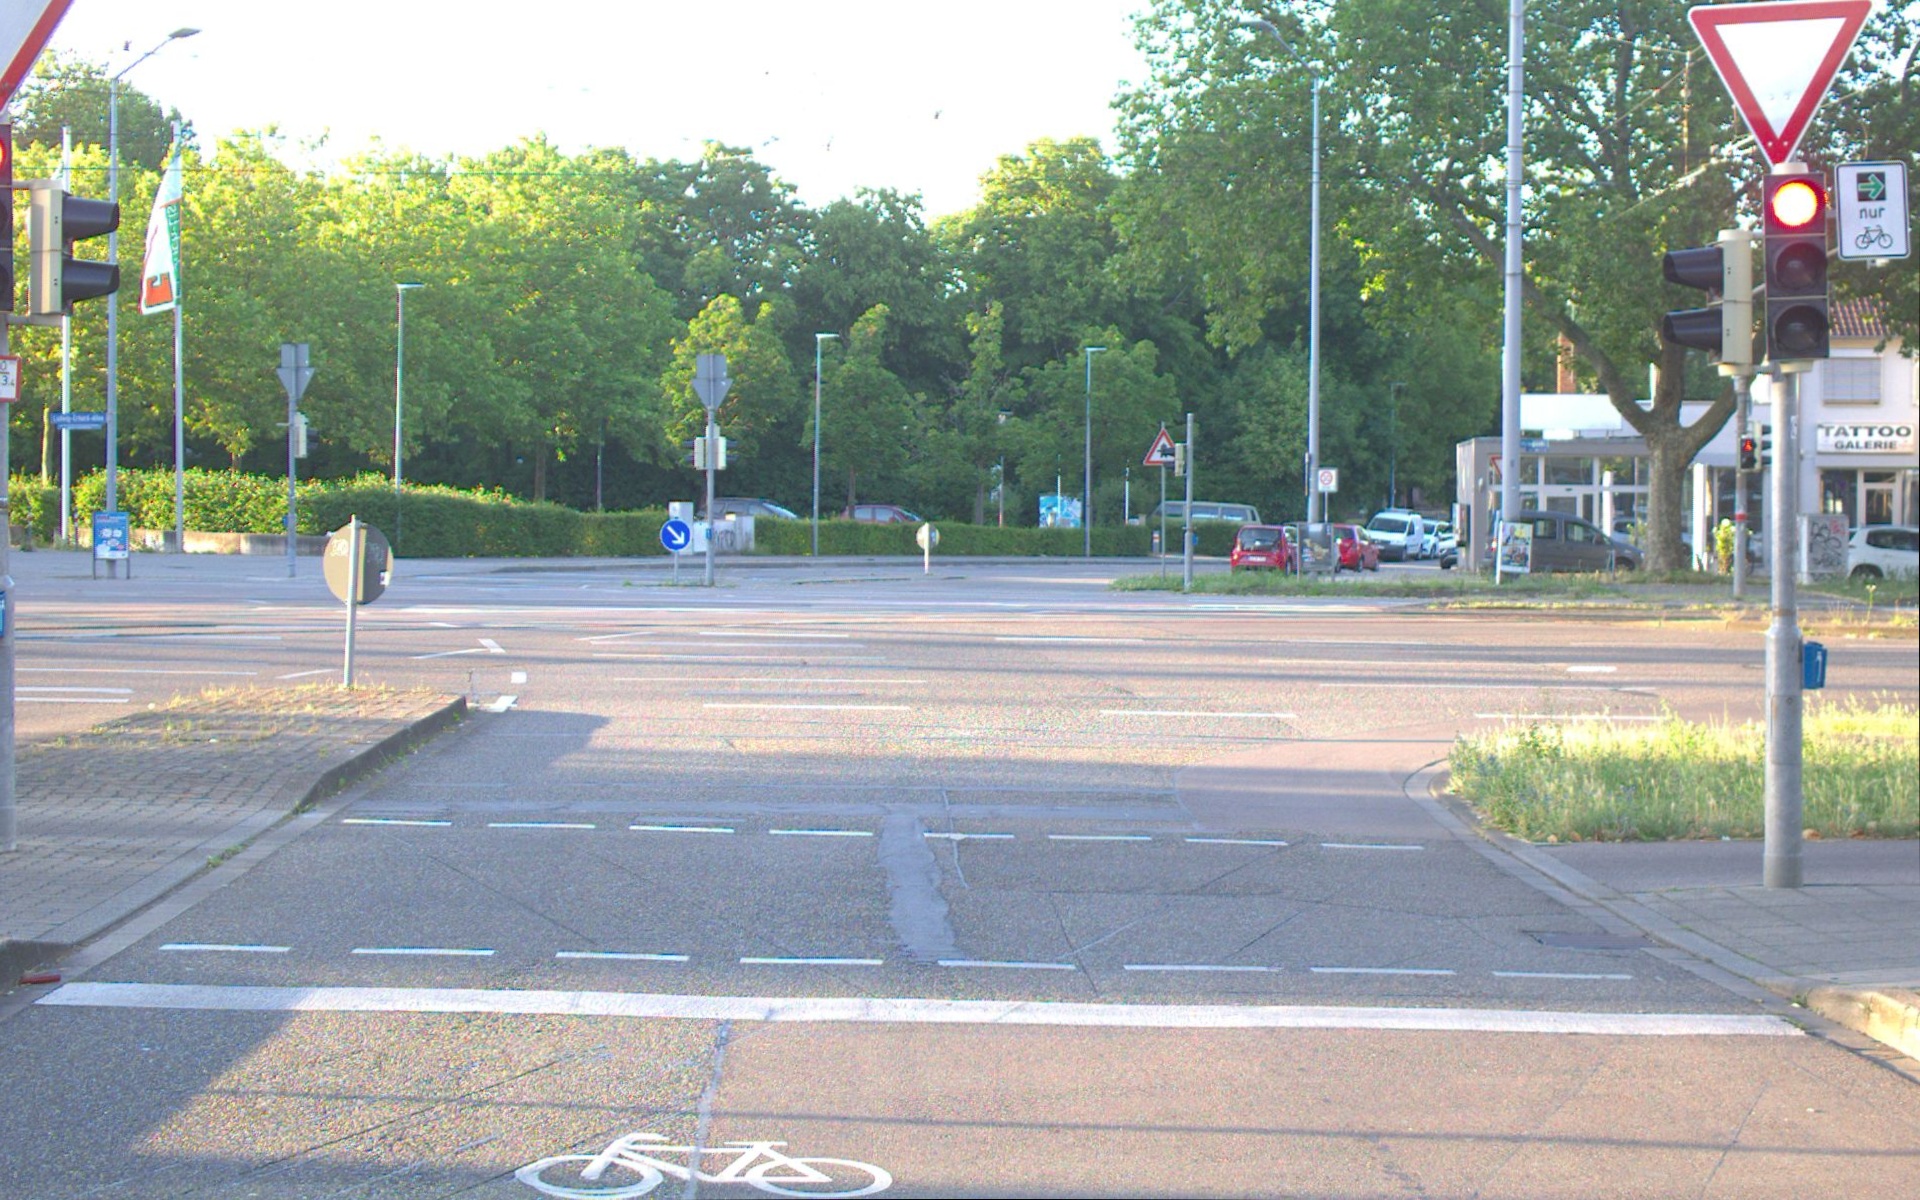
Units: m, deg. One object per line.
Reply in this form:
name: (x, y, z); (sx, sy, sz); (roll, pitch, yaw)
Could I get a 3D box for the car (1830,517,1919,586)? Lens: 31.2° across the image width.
car: (20.513, -1.007, 73.103); (3.741, 1.435, 1.663); (1, 0, 9)

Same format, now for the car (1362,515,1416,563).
car: (16.493, -2.338, 132.063); (1.864, 1.788, 3.998); (1, 0, 10)

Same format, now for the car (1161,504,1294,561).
car: (9.846, -2.482, 126.751); (4.774, 1.999, 2.000); (1, 0, 2)

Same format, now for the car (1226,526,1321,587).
car: (8.820, -1.209, 96.566); (1.995, 1.656, 3.997); (1, 0, 15)

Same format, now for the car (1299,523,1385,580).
car: (11.605, -1.452, 104.251); (1.995, 1.656, 3.997); (1, 0, 15)

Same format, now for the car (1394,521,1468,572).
car: (15.978, -1.797, 116.473); (1.995, 1.656, 3.997); (1, 0, 15)

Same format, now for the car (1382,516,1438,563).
car: (17.950, -2.404, 136.956); (1.864, 1.788, 3.998); (1, 0, 12)

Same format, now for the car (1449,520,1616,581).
car: (14.953, -1.291, 90.044); (4.220, 1.547, 1.999); (1, 0, 7)
